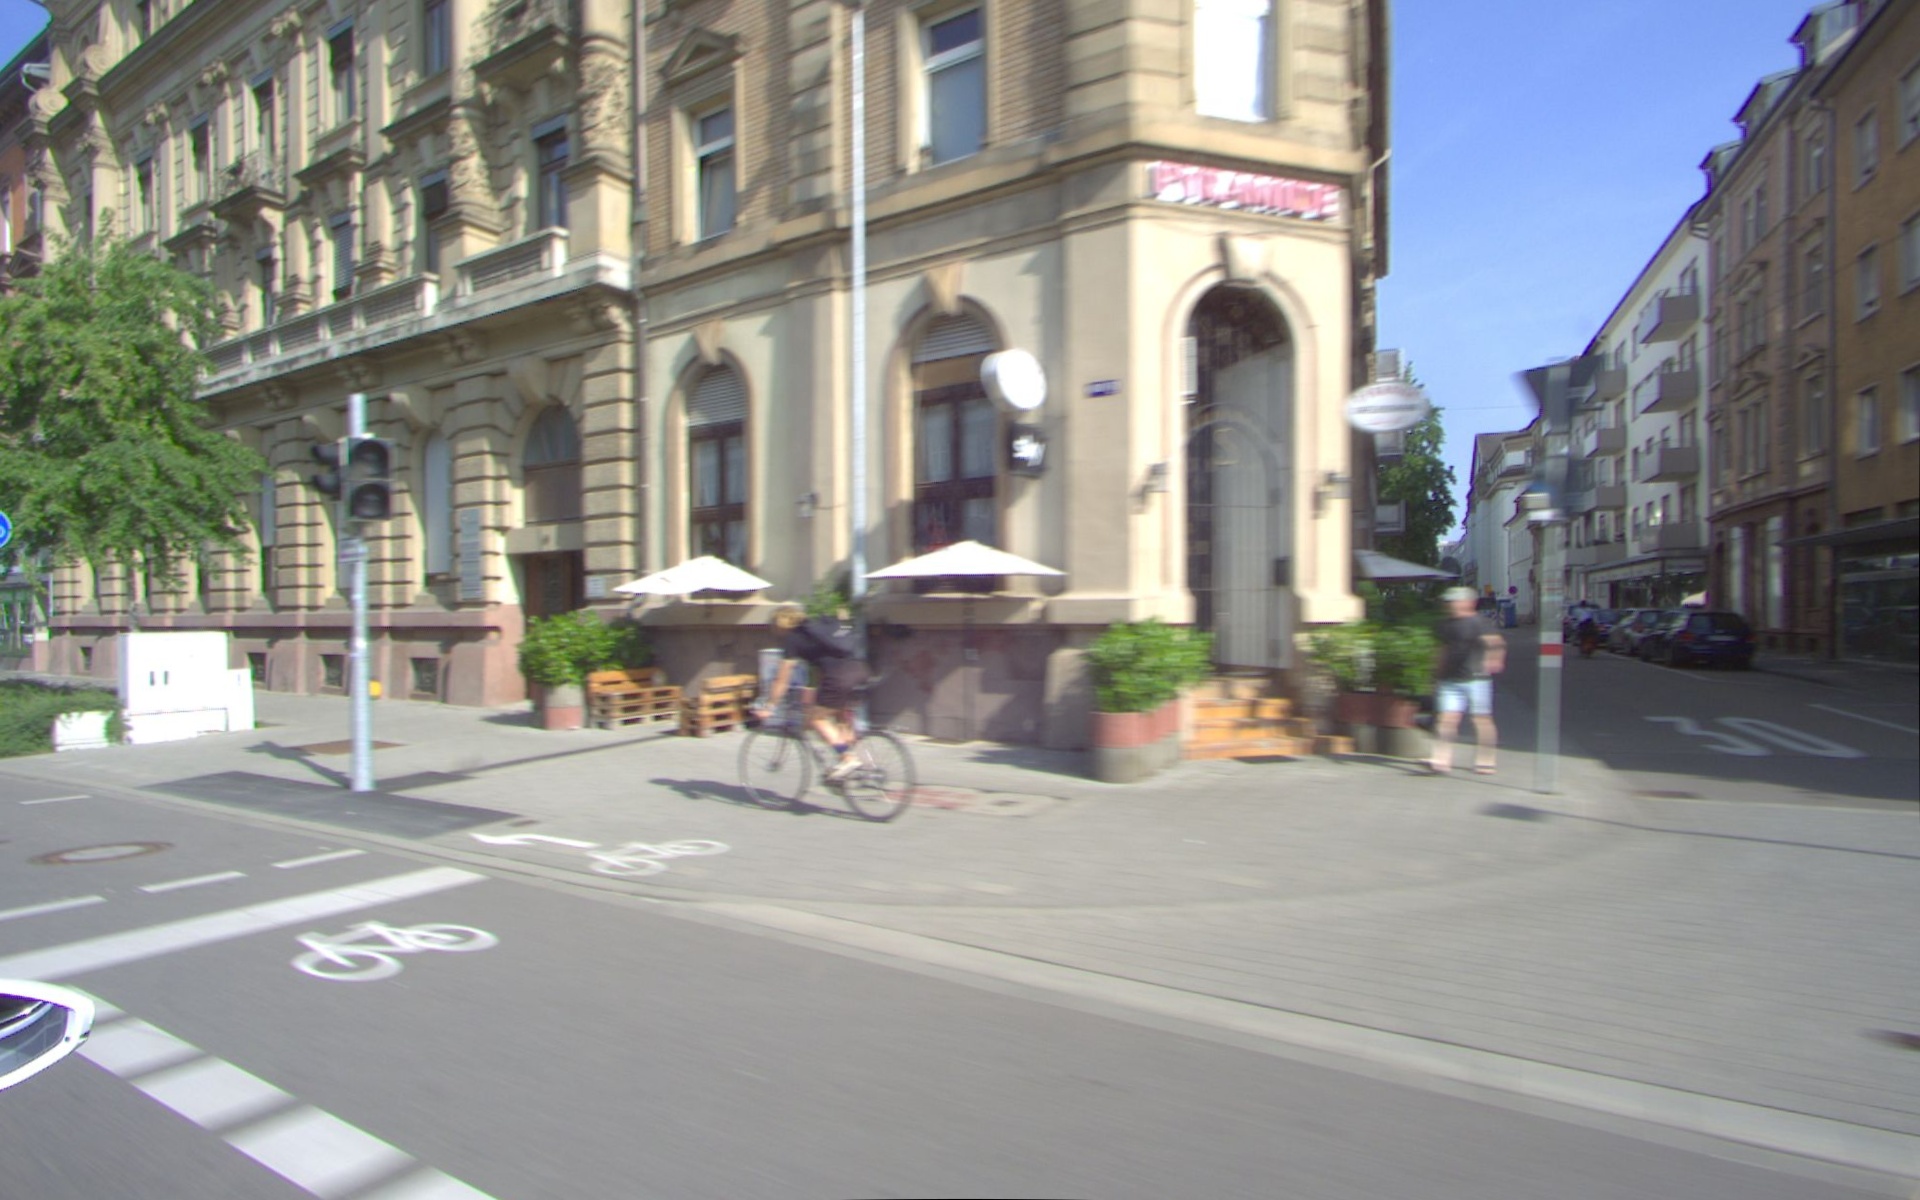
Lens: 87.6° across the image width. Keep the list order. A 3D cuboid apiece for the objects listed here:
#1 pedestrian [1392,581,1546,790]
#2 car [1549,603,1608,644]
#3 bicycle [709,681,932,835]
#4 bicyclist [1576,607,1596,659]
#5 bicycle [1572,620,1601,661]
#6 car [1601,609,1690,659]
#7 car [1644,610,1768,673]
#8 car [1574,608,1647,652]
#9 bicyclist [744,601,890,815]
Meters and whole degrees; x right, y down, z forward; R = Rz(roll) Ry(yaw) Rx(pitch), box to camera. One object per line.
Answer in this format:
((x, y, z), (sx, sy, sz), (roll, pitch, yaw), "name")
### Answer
((4.774, 0.746, 9.418), (0.854, 1.831, 0.985), (-1, 2, -38), "pedestrian")
((26.070, 0.958, 42.293), (1.636, 1.610, 3.618), (0, 0, 24), "car")
((-1.086, 1.145, 7.602), (1.759, 0.966, 0.504), (0, 1, 32), "bicycle")
((18.676, 0.990, 29.895), (0.429, 1.532, 0.505), (0, 0, 24), "bicyclist")
((18.551, 1.177, 29.666), (0.429, 1.154, 1.991), (0, 0, 23), "bicycle")
((21.254, 1.008, 31.173), (1.636, 1.438, 3.618), (0, 0, 24), "car")
((18.935, 1.000, 25.599), (1.713, 1.438, 3.794), (-1, 0, 24), "car")
((23.252, 1.041, 35.896), (1.636, 1.438, 3.618), (0, 0, 24), "car")
((-1.079, 0.770, 7.575), (0.918, 1.502, 0.582), (0, 2, 32), "bicyclist")
